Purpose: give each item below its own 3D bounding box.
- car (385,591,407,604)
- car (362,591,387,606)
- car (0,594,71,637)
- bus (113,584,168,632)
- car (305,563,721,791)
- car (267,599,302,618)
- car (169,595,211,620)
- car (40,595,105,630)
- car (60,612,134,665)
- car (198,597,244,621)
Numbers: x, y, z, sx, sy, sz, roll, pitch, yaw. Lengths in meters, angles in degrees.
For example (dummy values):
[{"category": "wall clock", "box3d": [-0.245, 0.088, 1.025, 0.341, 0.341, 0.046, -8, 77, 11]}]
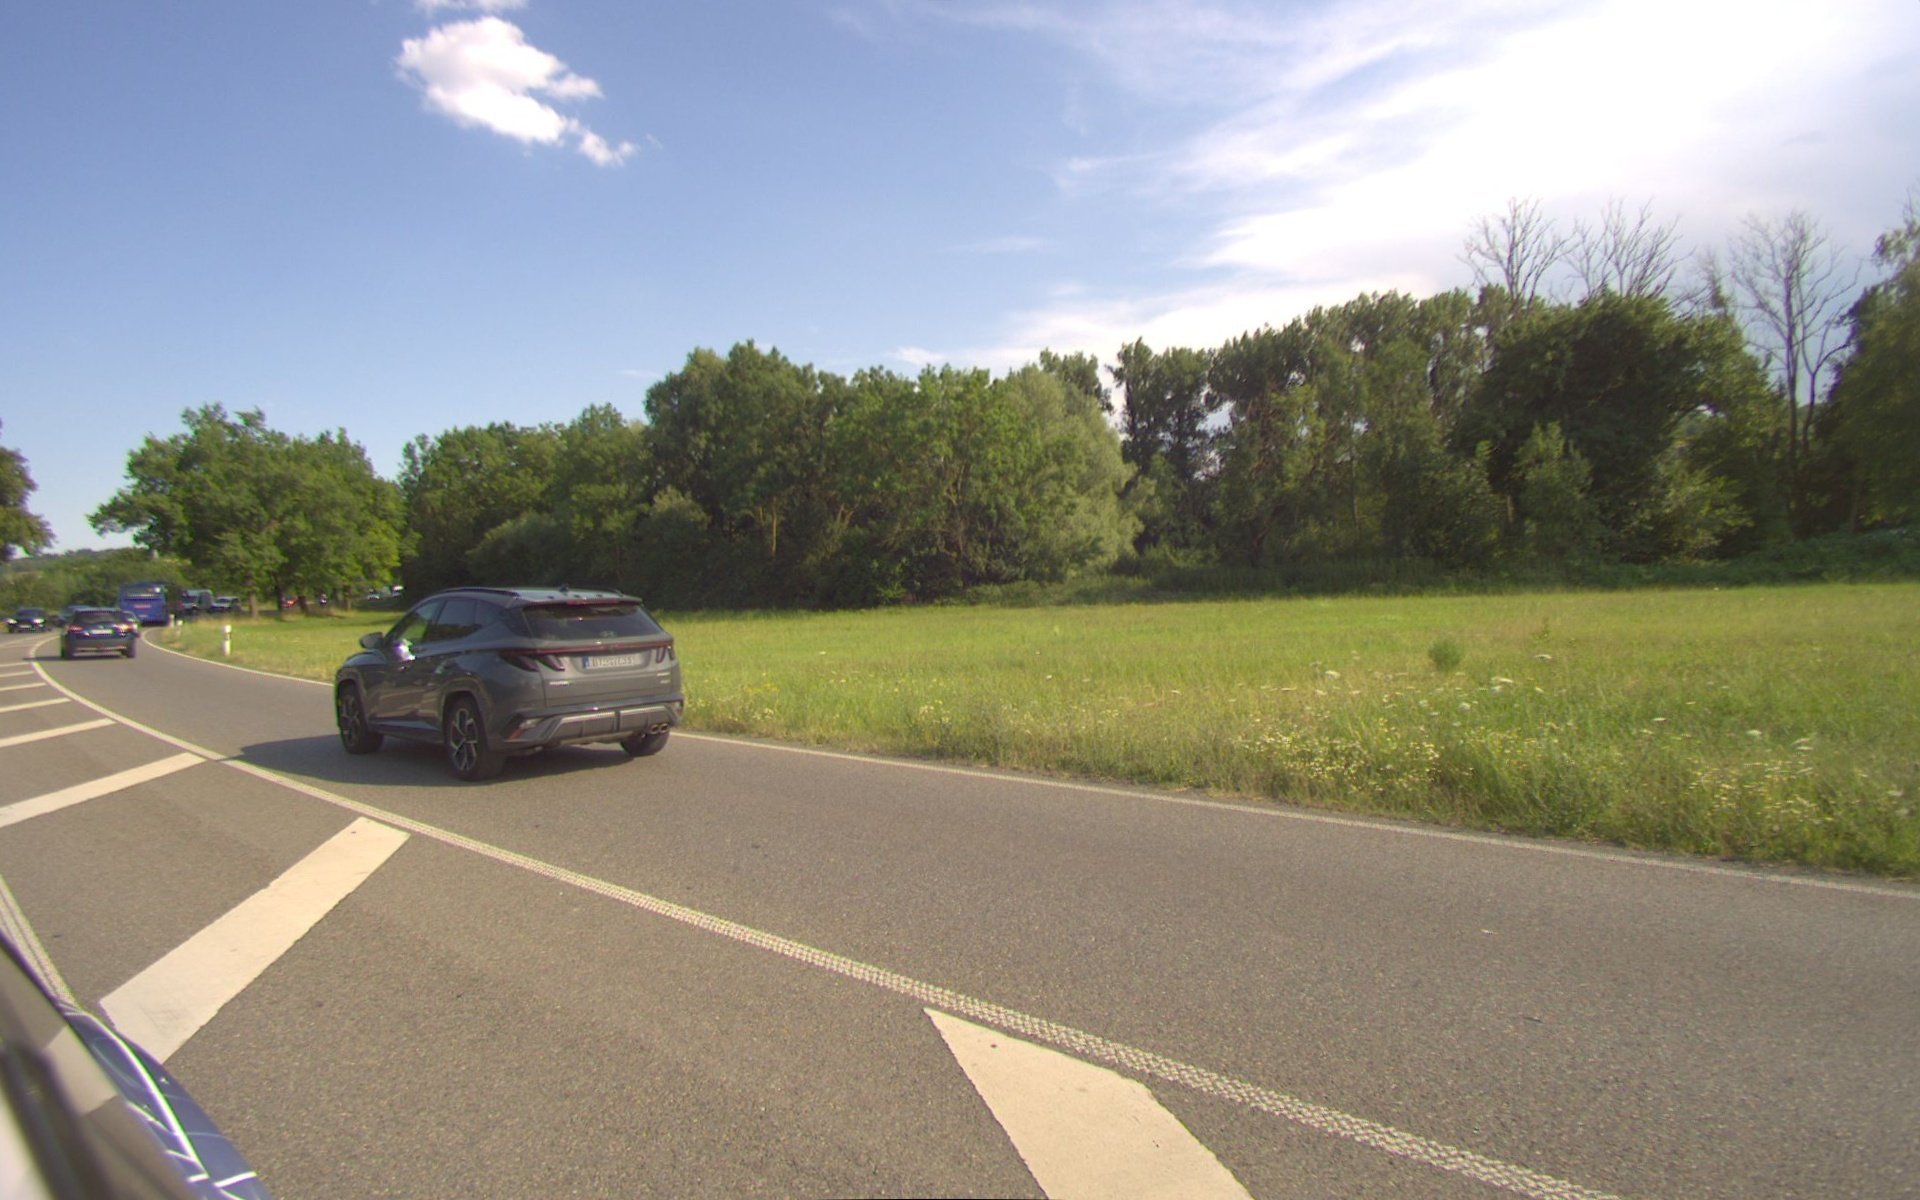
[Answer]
[{"category": "car", "box3d": [-105.233, -0.503, 188.997, 2.056, 2.435, 5.154, -1, 1, -11]}, {"category": "car", "box3d": [-101.395, -0.256, 175.382, 2.056, 2.435, 5.154, -1, 1, -11]}, {"category": "car", "box3d": [-57.373, 0.925, 62.535, 2.054, 2.435, 5.159, -1, 1, -22]}, {"category": "bus", "box3d": [-60.530, 0.490, 74.623, 2.760, 3.205, 12.145, -2, 2, -41]}, {"category": "car", "box3d": [-4.518, 0.625, 9.908, 4.423, 1.738, 1.973, -2, 0, 41]}, {"category": "car", "box3d": [-90.978, 1.094, 136.330, 2.056, 2.435, 5.154, -1, 1, -11]}, {"category": "car", "box3d": [-79.317, 0.743, 104.320, 2.054, 2.435, 5.159, -1, 1, -22]}, {"category": "car", "box3d": [-66.977, 0.873, 76.512, 2.054, 2.435, 5.159, -1, 1, -22]}, {"category": "car", "box3d": [-27.424, 1.201, 32.118, 1.674, 1.564, 4.157, 0, -2, -42]}, {"category": "car", "box3d": [-81.898, 0.976, 112.280, 2.056, 2.435, 5.154, -1, 1, -11]}]
